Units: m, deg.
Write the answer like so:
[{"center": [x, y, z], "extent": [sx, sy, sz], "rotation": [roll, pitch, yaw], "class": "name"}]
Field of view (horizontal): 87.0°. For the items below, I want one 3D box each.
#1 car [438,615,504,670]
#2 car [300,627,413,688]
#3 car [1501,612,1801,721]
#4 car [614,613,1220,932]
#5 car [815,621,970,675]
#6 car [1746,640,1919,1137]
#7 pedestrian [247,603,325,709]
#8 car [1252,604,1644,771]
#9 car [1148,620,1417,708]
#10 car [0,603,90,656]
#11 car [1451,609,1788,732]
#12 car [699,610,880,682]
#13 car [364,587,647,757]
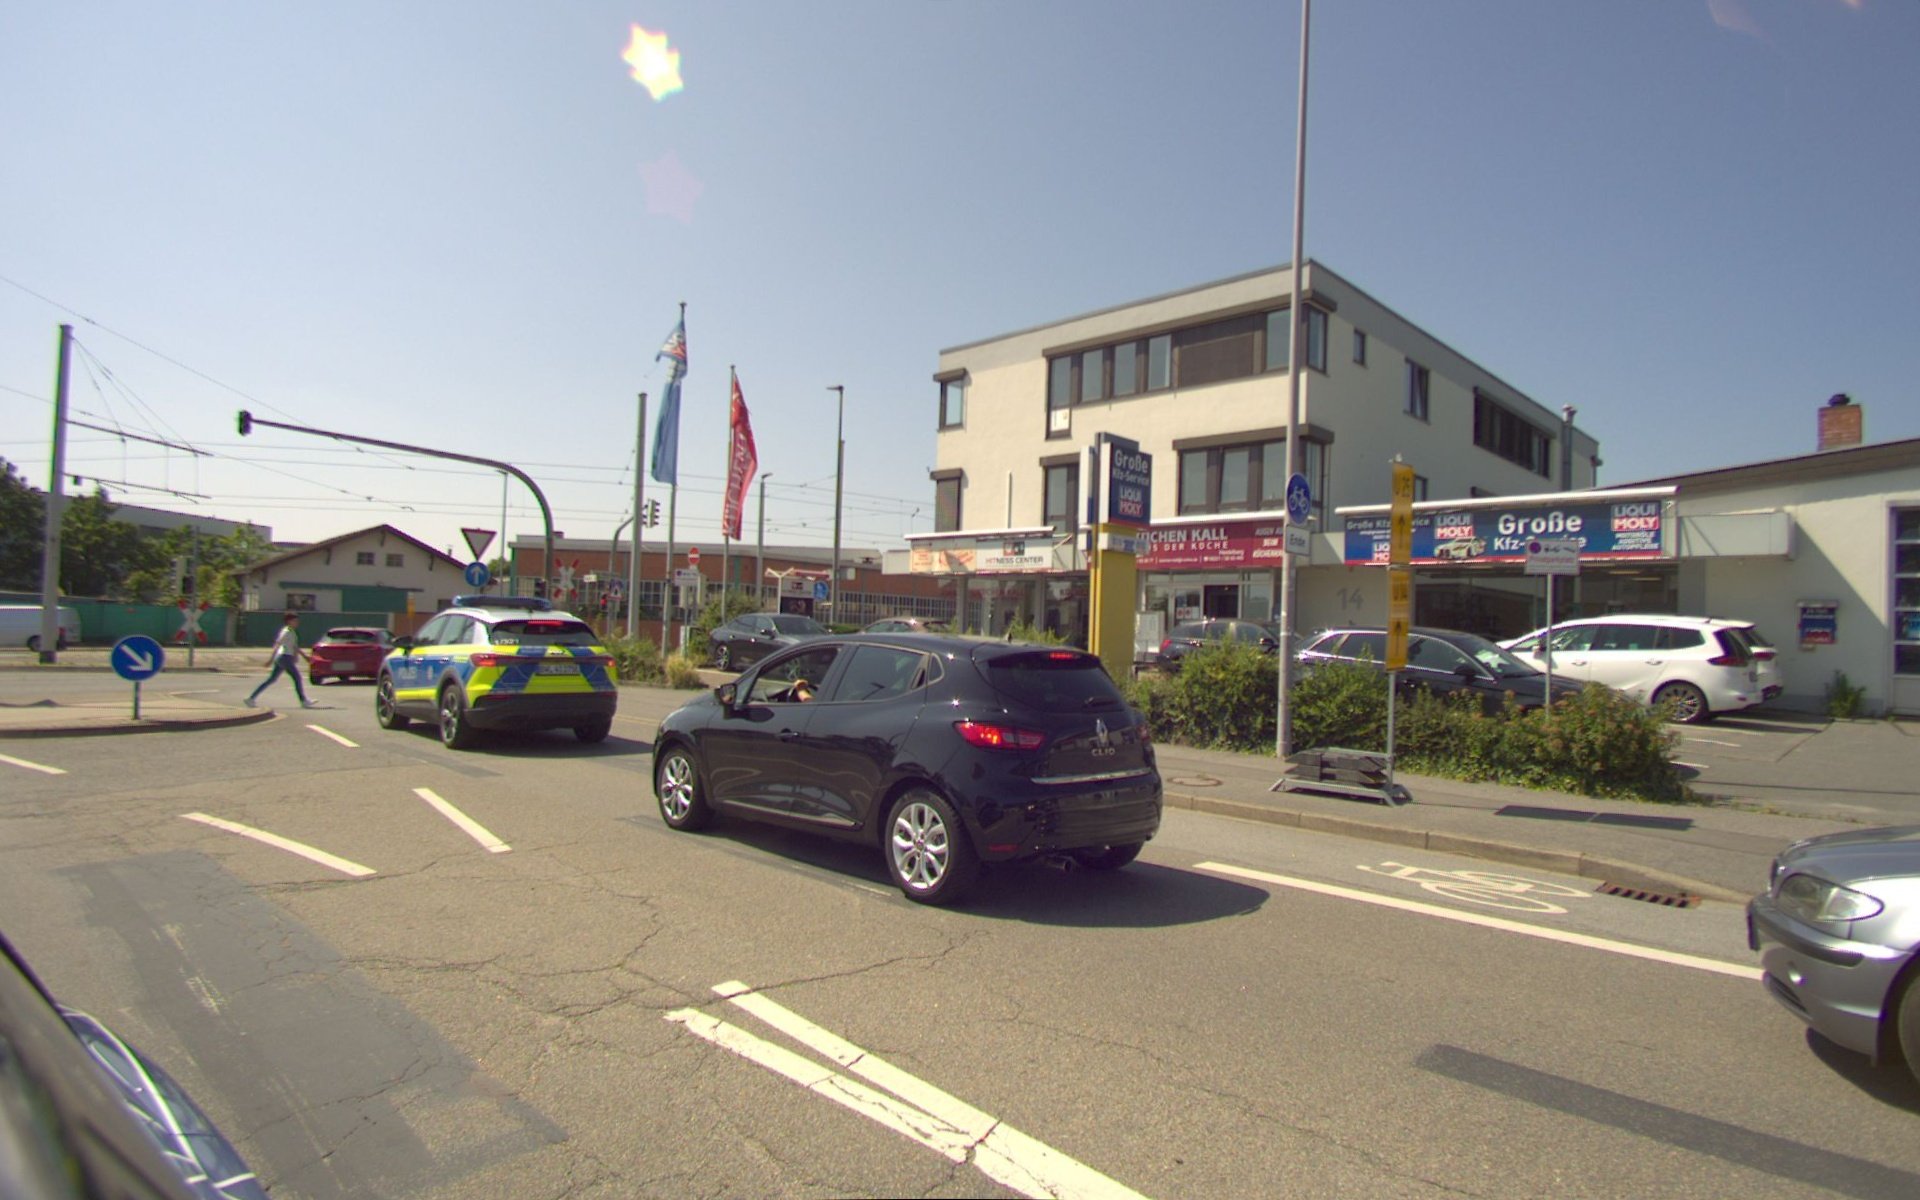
[{"center": [-18.610, 1.632, 38.666], "extent": [1.963, 1.962, 4.451], "rotation": [2, -3, -23], "class": "car"}, {"center": [-15.755, 1.486, 26.651], "extent": [1.738, 1.465, 4.122], "rotation": [2, -3, -20], "class": "car"}, {"center": [13.007, 1.199, 19.263], "extent": [1.885, 1.830, 4.422], "rotation": [4, -4, -44], "class": "car"}, {"center": [-0.563, 0.897, 6.801], "extent": [1.641, 1.465, 4.244], "rotation": [6, -5, -43], "class": "car"}, {"center": [-1.956, 1.328, 28.383], "extent": [1.885, 1.399, 4.488], "rotation": [4, -4, -44], "class": "car"}, {"center": [4.661, 0.867, 2.402], "extent": [4.322, 1.415, 1.723], "rotation": [-1, -5, 41], "class": "car"}, {"center": [-11.287, 0.935, 16.944], "extent": [0.981, 1.698, 0.801], "rotation": [3, -4, -36], "class": "pedestrian"}, {"center": [5.910, 0.986, 12.568], "extent": [1.883, 1.728, 4.002], "rotation": [4, -4, -45], "class": "car"}, {"center": [5.883, 1.133, 18.840], "extent": [1.885, 1.432, 4.422], "rotation": [4, -4, -44], "class": "car"}, {"center": [-40.609, 1.215, 42.681], "extent": [5.436, 2.149, 2.220], "rotation": [2, -3, -22], "class": "car"}, {"center": [11.107, 1.104, 17.295], "extent": [1.884, 1.721, 4.483], "rotation": [4, -2, -43], "class": "car"}, {"center": [-4.216, 1.096, 24.471], "extent": [1.885, 1.585, 4.821], "rotation": [4, -4, -44], "class": "car"}, {"center": [-5.881, 0.839, 12.830], "extent": [1.870, 1.772, 4.356], "rotation": [4, -4, -44], "class": "car"}]
